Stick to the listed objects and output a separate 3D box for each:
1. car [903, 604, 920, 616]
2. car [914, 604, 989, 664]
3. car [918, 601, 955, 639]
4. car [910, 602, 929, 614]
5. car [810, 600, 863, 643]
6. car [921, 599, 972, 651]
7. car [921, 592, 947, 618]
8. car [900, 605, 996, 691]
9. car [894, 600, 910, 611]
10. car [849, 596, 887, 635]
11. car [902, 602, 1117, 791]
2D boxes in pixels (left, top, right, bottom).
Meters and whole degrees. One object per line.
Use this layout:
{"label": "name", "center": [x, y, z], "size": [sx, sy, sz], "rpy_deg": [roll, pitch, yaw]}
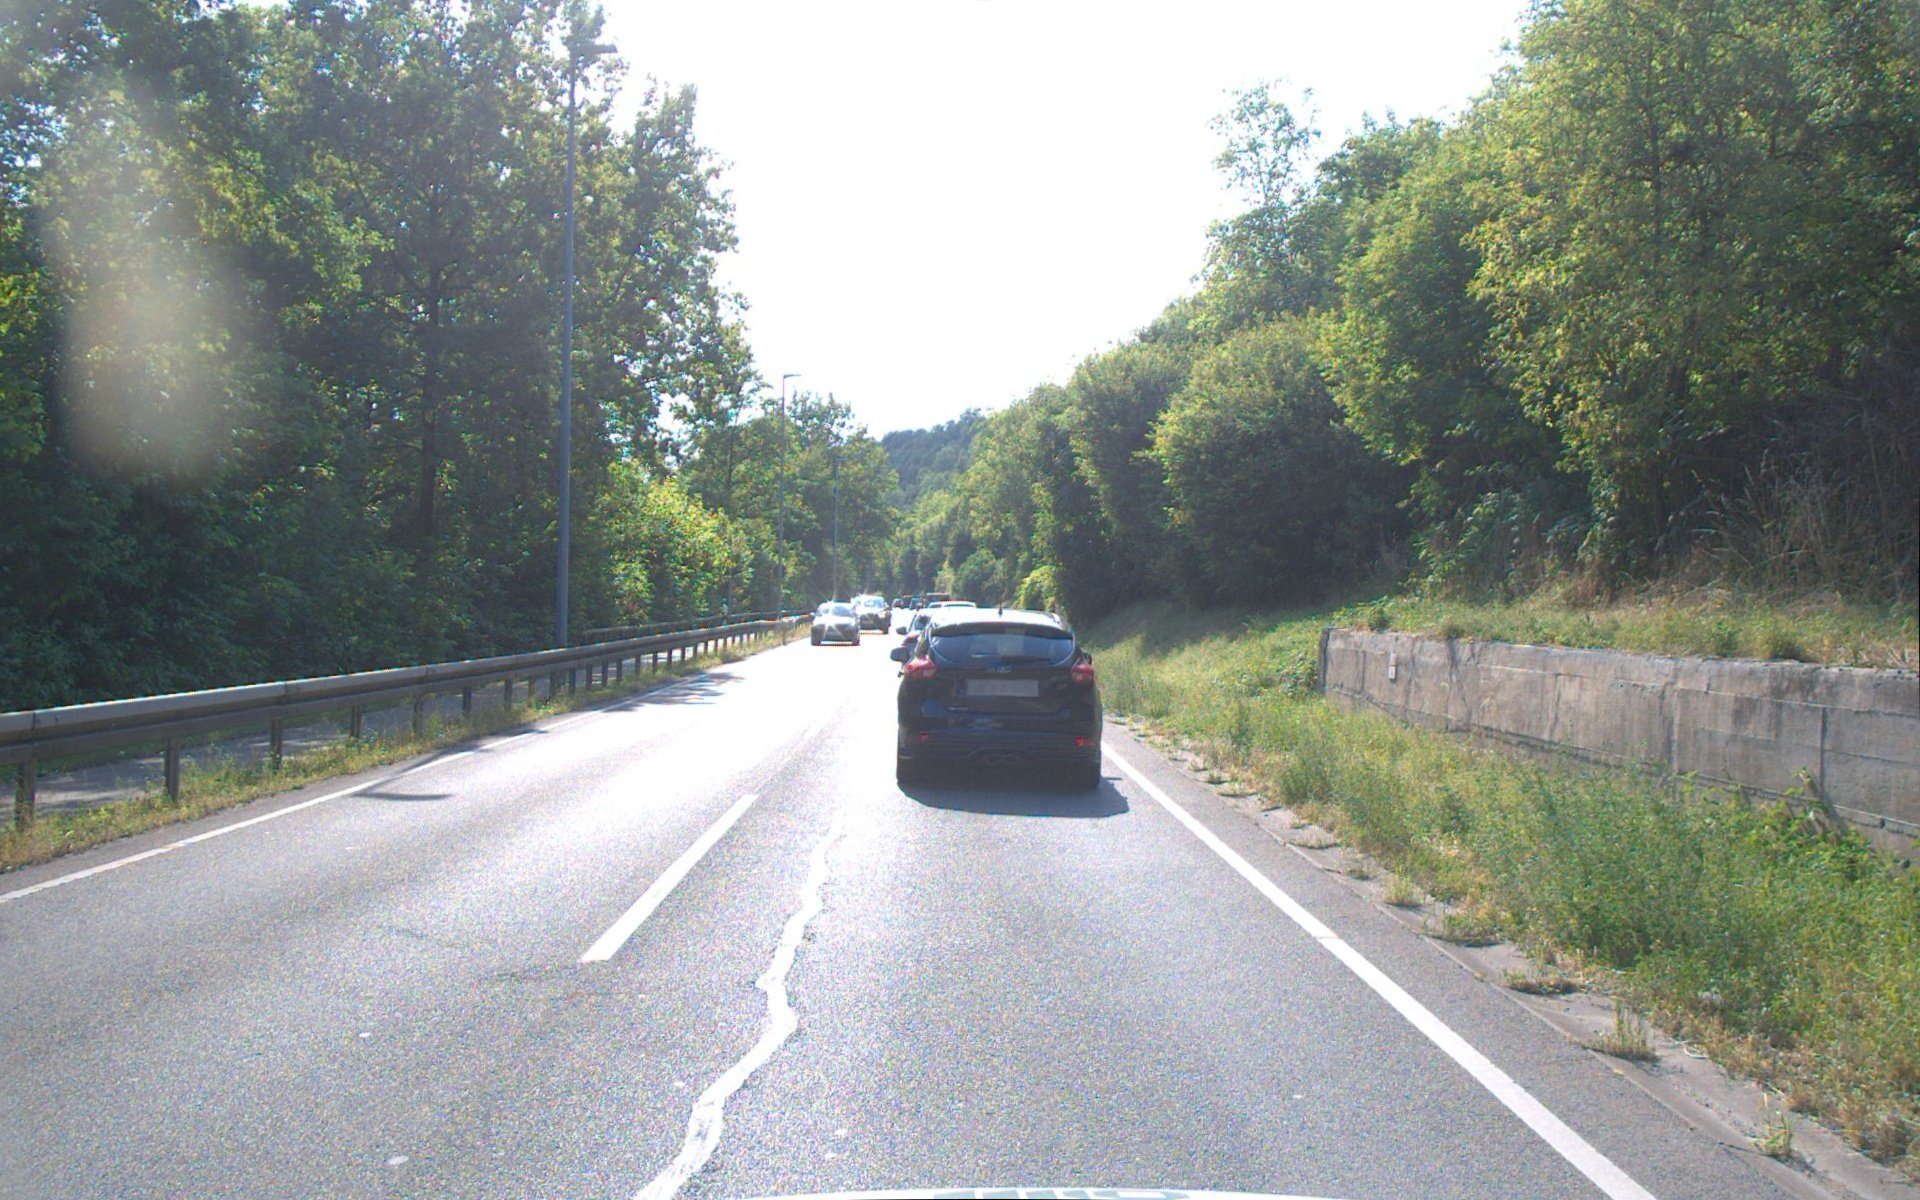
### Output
{"label": "car", "center": [-6.851, 1.409, 231.596], "size": [1.956, 1.545, 3.993], "rpy_deg": [0, 0, -8]}
{"label": "car", "center": [-0.221, 0.811, 41.214], "size": [1.768, 1.416, 3.999], "rpy_deg": [0, 0, -1]}
{"label": "car", "center": [-1.044, 0.851, 73.060], "size": [1.597, 1.624, 3.999], "rpy_deg": [0, 0, -1]}
{"label": "car", "center": [-5.219, 1.002, 210.574], "size": [1.956, 1.545, 3.993], "rpy_deg": [0, 0, -8]}
{"label": "car", "center": [-4.369, 0.750, 59.061], "size": [1.647, 1.467, 3.999], "rpy_deg": [0, 0, -1]}
{"label": "car", "center": [-0.435, 0.778, 53.603], "size": [1.597, 1.624, 3.999], "rpy_deg": [0, 0, -1]}
{"label": "car", "center": [-1.889, 0.364, 118.496], "size": [1.825, 1.812, 3.999], "rpy_deg": [0, 0, -2]}
{"label": "car", "center": [-0.182, 0.822, 29.972], "size": [1.627, 1.443, 4.000], "rpy_deg": [0, 0, 1]}
{"label": "car", "center": [-8.521, 0.841, 244.056], "size": [1.956, 1.545, 3.993], "rpy_deg": [0, 0, -8]}
{"label": "car", "center": [-4.228, 0.712, 76.751], "size": [1.713, 1.747, 4.219], "rpy_deg": [0, 0, -3]}
{"label": "car", "center": [0.372, 0.786, 15.244], "size": [1.704, 1.482, 3.999], "rpy_deg": [1, 0, -1]}
